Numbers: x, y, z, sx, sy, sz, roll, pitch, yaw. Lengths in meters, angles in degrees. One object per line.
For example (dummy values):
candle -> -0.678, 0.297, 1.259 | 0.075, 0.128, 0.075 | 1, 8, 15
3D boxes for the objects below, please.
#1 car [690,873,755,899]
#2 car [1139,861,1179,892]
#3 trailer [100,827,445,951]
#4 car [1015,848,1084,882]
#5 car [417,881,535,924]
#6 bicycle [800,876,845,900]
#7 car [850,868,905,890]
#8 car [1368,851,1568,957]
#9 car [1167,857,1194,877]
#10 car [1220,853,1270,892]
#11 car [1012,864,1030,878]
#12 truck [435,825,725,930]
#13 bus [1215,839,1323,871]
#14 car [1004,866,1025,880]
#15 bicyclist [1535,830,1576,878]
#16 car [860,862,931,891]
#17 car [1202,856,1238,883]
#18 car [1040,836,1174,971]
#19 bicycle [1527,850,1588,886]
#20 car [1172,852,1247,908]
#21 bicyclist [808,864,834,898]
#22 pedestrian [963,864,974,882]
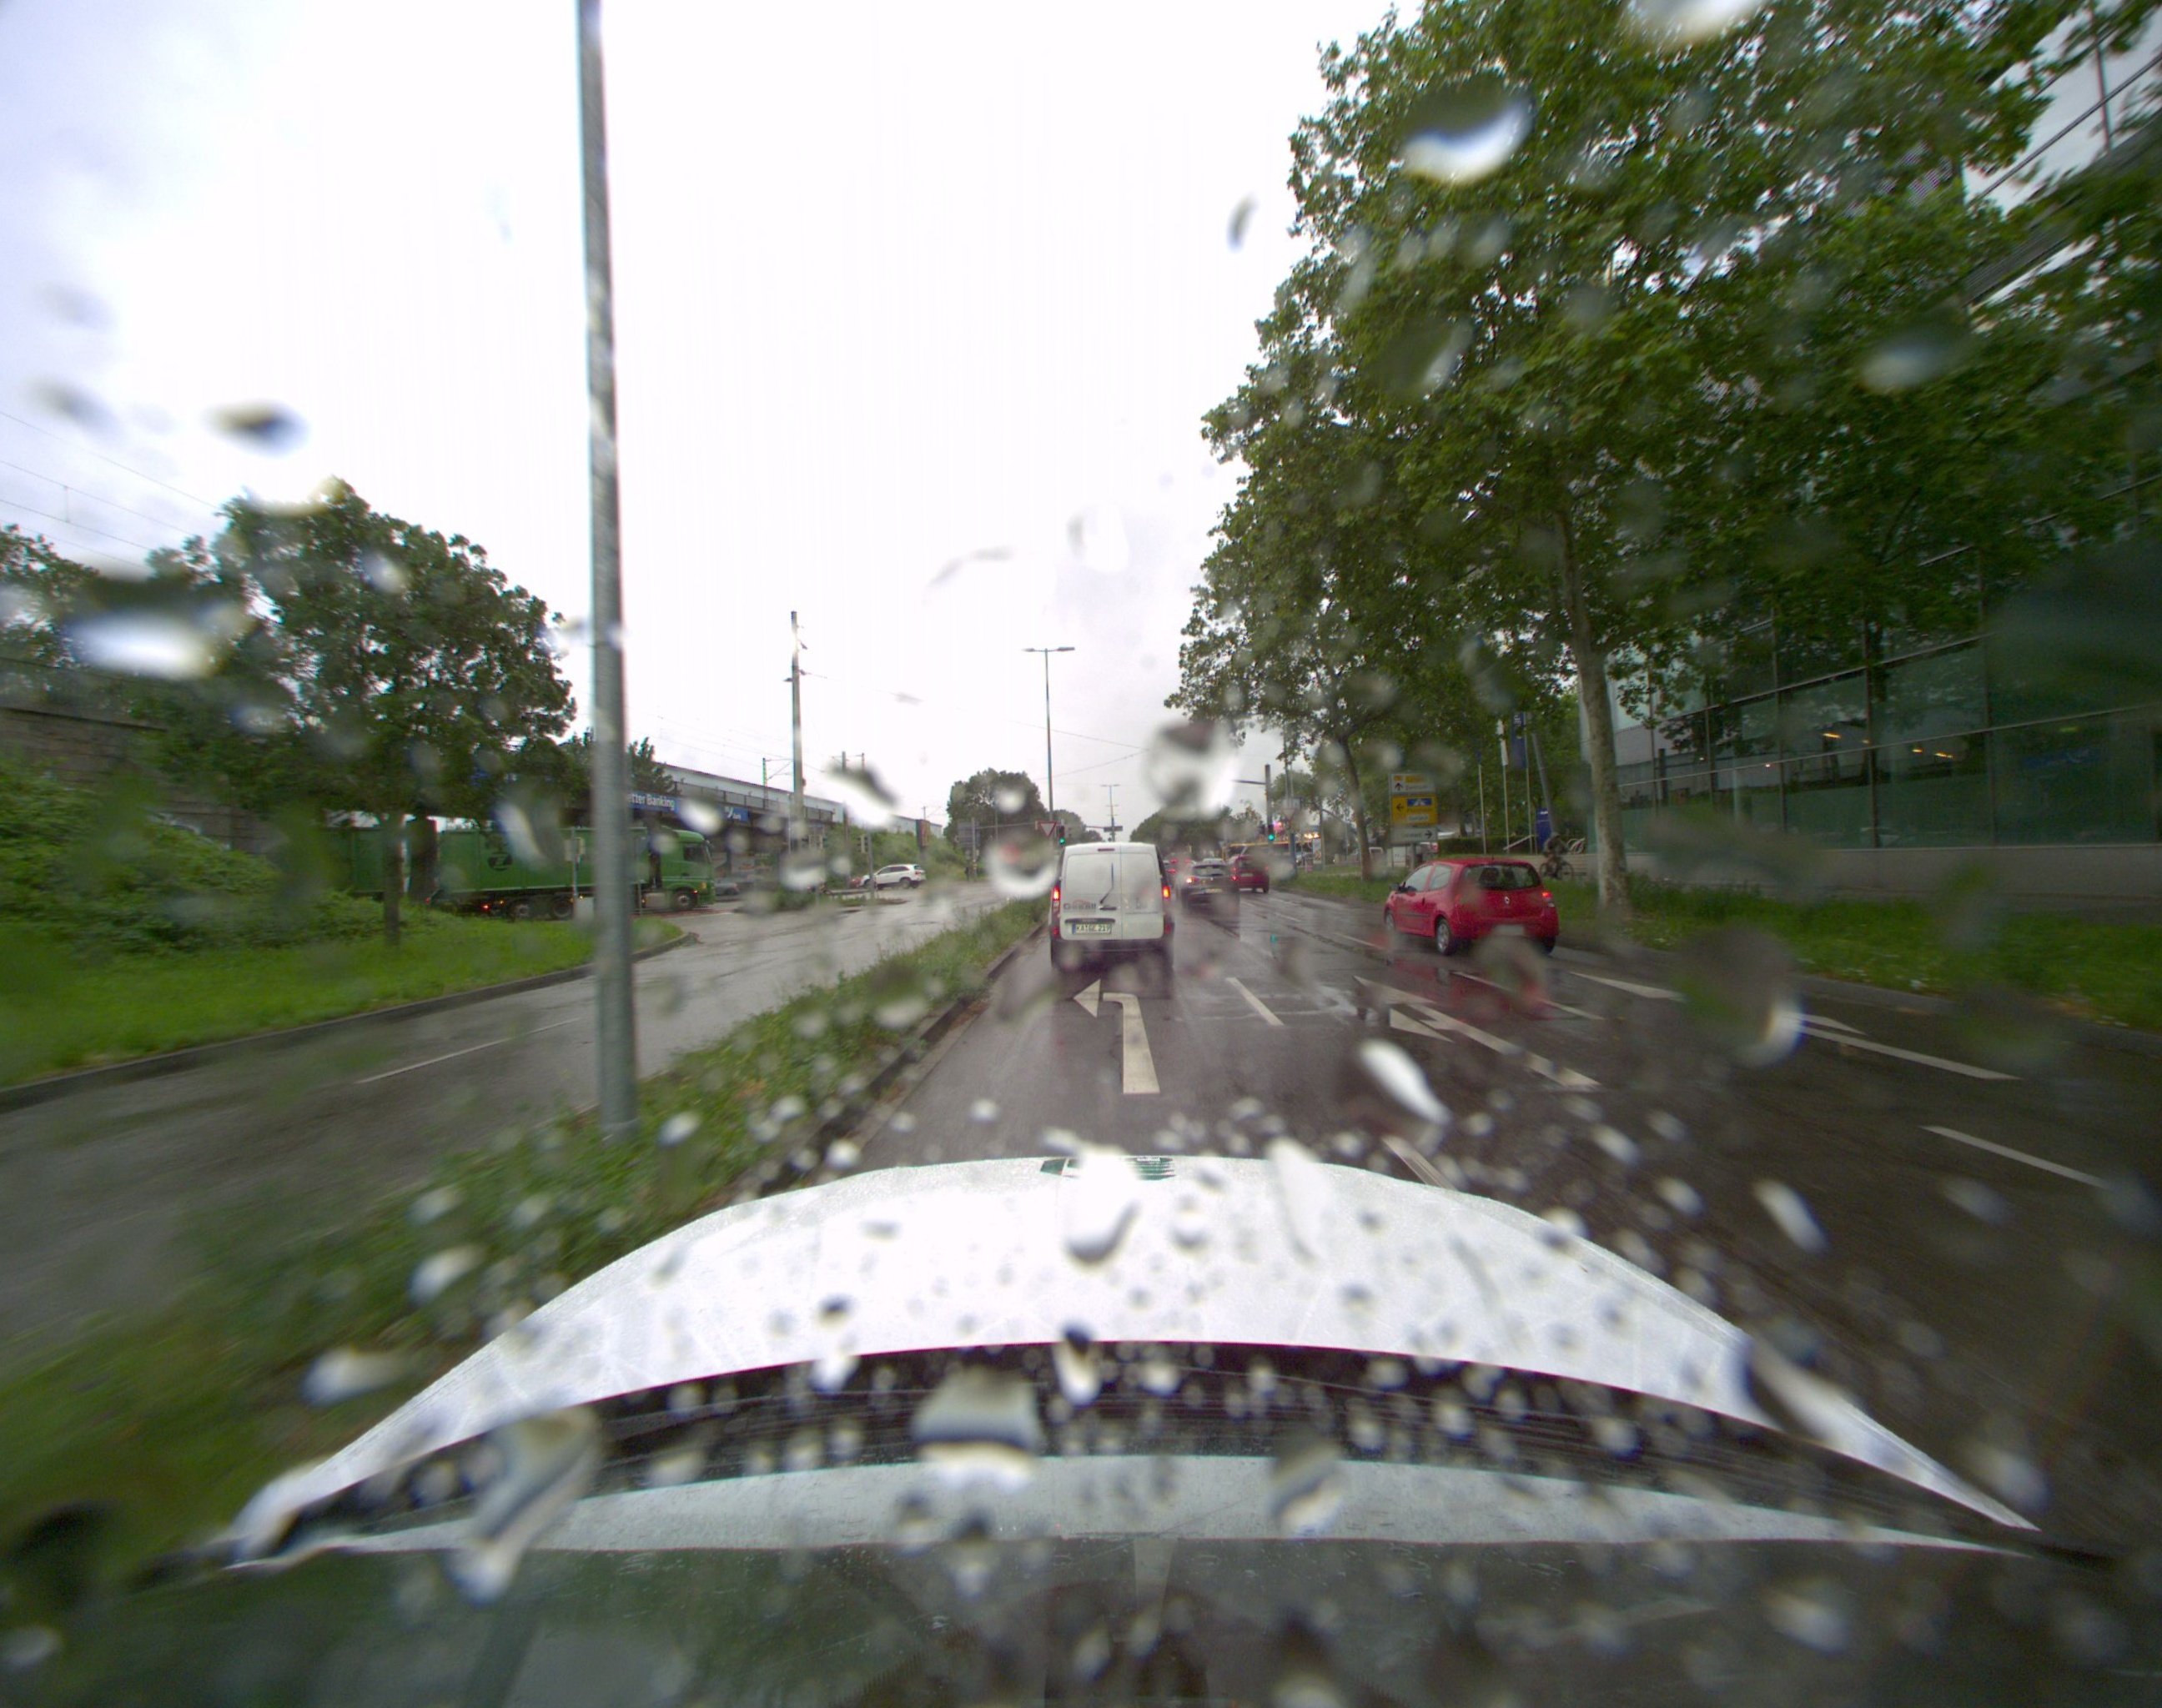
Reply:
car -> -24.288, 2.130, 55.219 | 3.908, 1.517, 1.792 | -2, -1, -27
car -> 4.290, 1.224, 45.375 | 1.830, 1.656, 3.999 | 0, -1, -1
trailer -> -28.998, 1.095, 29.948 | 8.554, 3.987, 2.661 | -2, -1, -34
car -> -2.046, 0.708, 51.391 | 2.008, 1.956, 4.769 | -3, 0, -34
car -> -26.399, 2.099, 35.703 | 4.017, 1.574, 1.978 | -2, -1, -35
bicycle -> -12.248, 1.606, 38.590 | 1.916, 1.095, 0.689 | -1, -1, -25
car -> -15.754, 1.894, 63.105 | 3.989, 1.503, 1.765 | -2, 0, -12
car -> 6.210, 0.733, 13.547 | 1.672, 1.491, 3.623 | -1, -1, 2
car -> 8.374, 1.102, 68.930 | 1.984, 1.574, 4.005 | -2, 0, 4
car -> 7.209, 0.796, 36.133 | 1.626, 1.656, 3.486 | 0, -1, 2
car -> -7.079, 1.945, 95.847 | 1.822, 1.482, 3.998 | -2, 0, -1
truck -> -21.223, 0.843, 35.232 | 10.235, 3.949, 2.659 | -2, -1, -34
bus -> 22.575, 0.097, 98.315 | 12.204, 3.268, 3.275 | -3, -1, 1
car -> -7.296, 2.065, 89.457 | 1.886, 1.349, 3.999 | -3, 0, 0
bicyclist -> 15.782, -0.004, 27.093 | 0.802, 1.515, 0.752 | -5, -1, -1
car -> -13.270, 1.606, 58.294 | 4.398, 1.846, 2.006 | -3, -1, 11
car -> 8.709, 0.984, 51.282 | 1.835, 1.618, 4.003 | -1, -1, 3
car -> 0.417, 0.678, 12.882 | 1.749, 1.777, 4.002 | -1, -1, 2
bicycle -> 15.805, 0.469, 27.063 | 0.741, 1.104, 2.076 | -4, -1, 0
car -> 3.944, 0.774, 25.525 | 1.835, 1.618, 4.002 | -1, -1, 2
bicyclist -> -12.309, 1.261, 38.575 | 1.049, 1.593, 0.798 | 0, -2, -26
pedestrian -> -10.962, 1.835, 79.262 | 1.001, 1.719, 0.818 | -2, -1, -6
